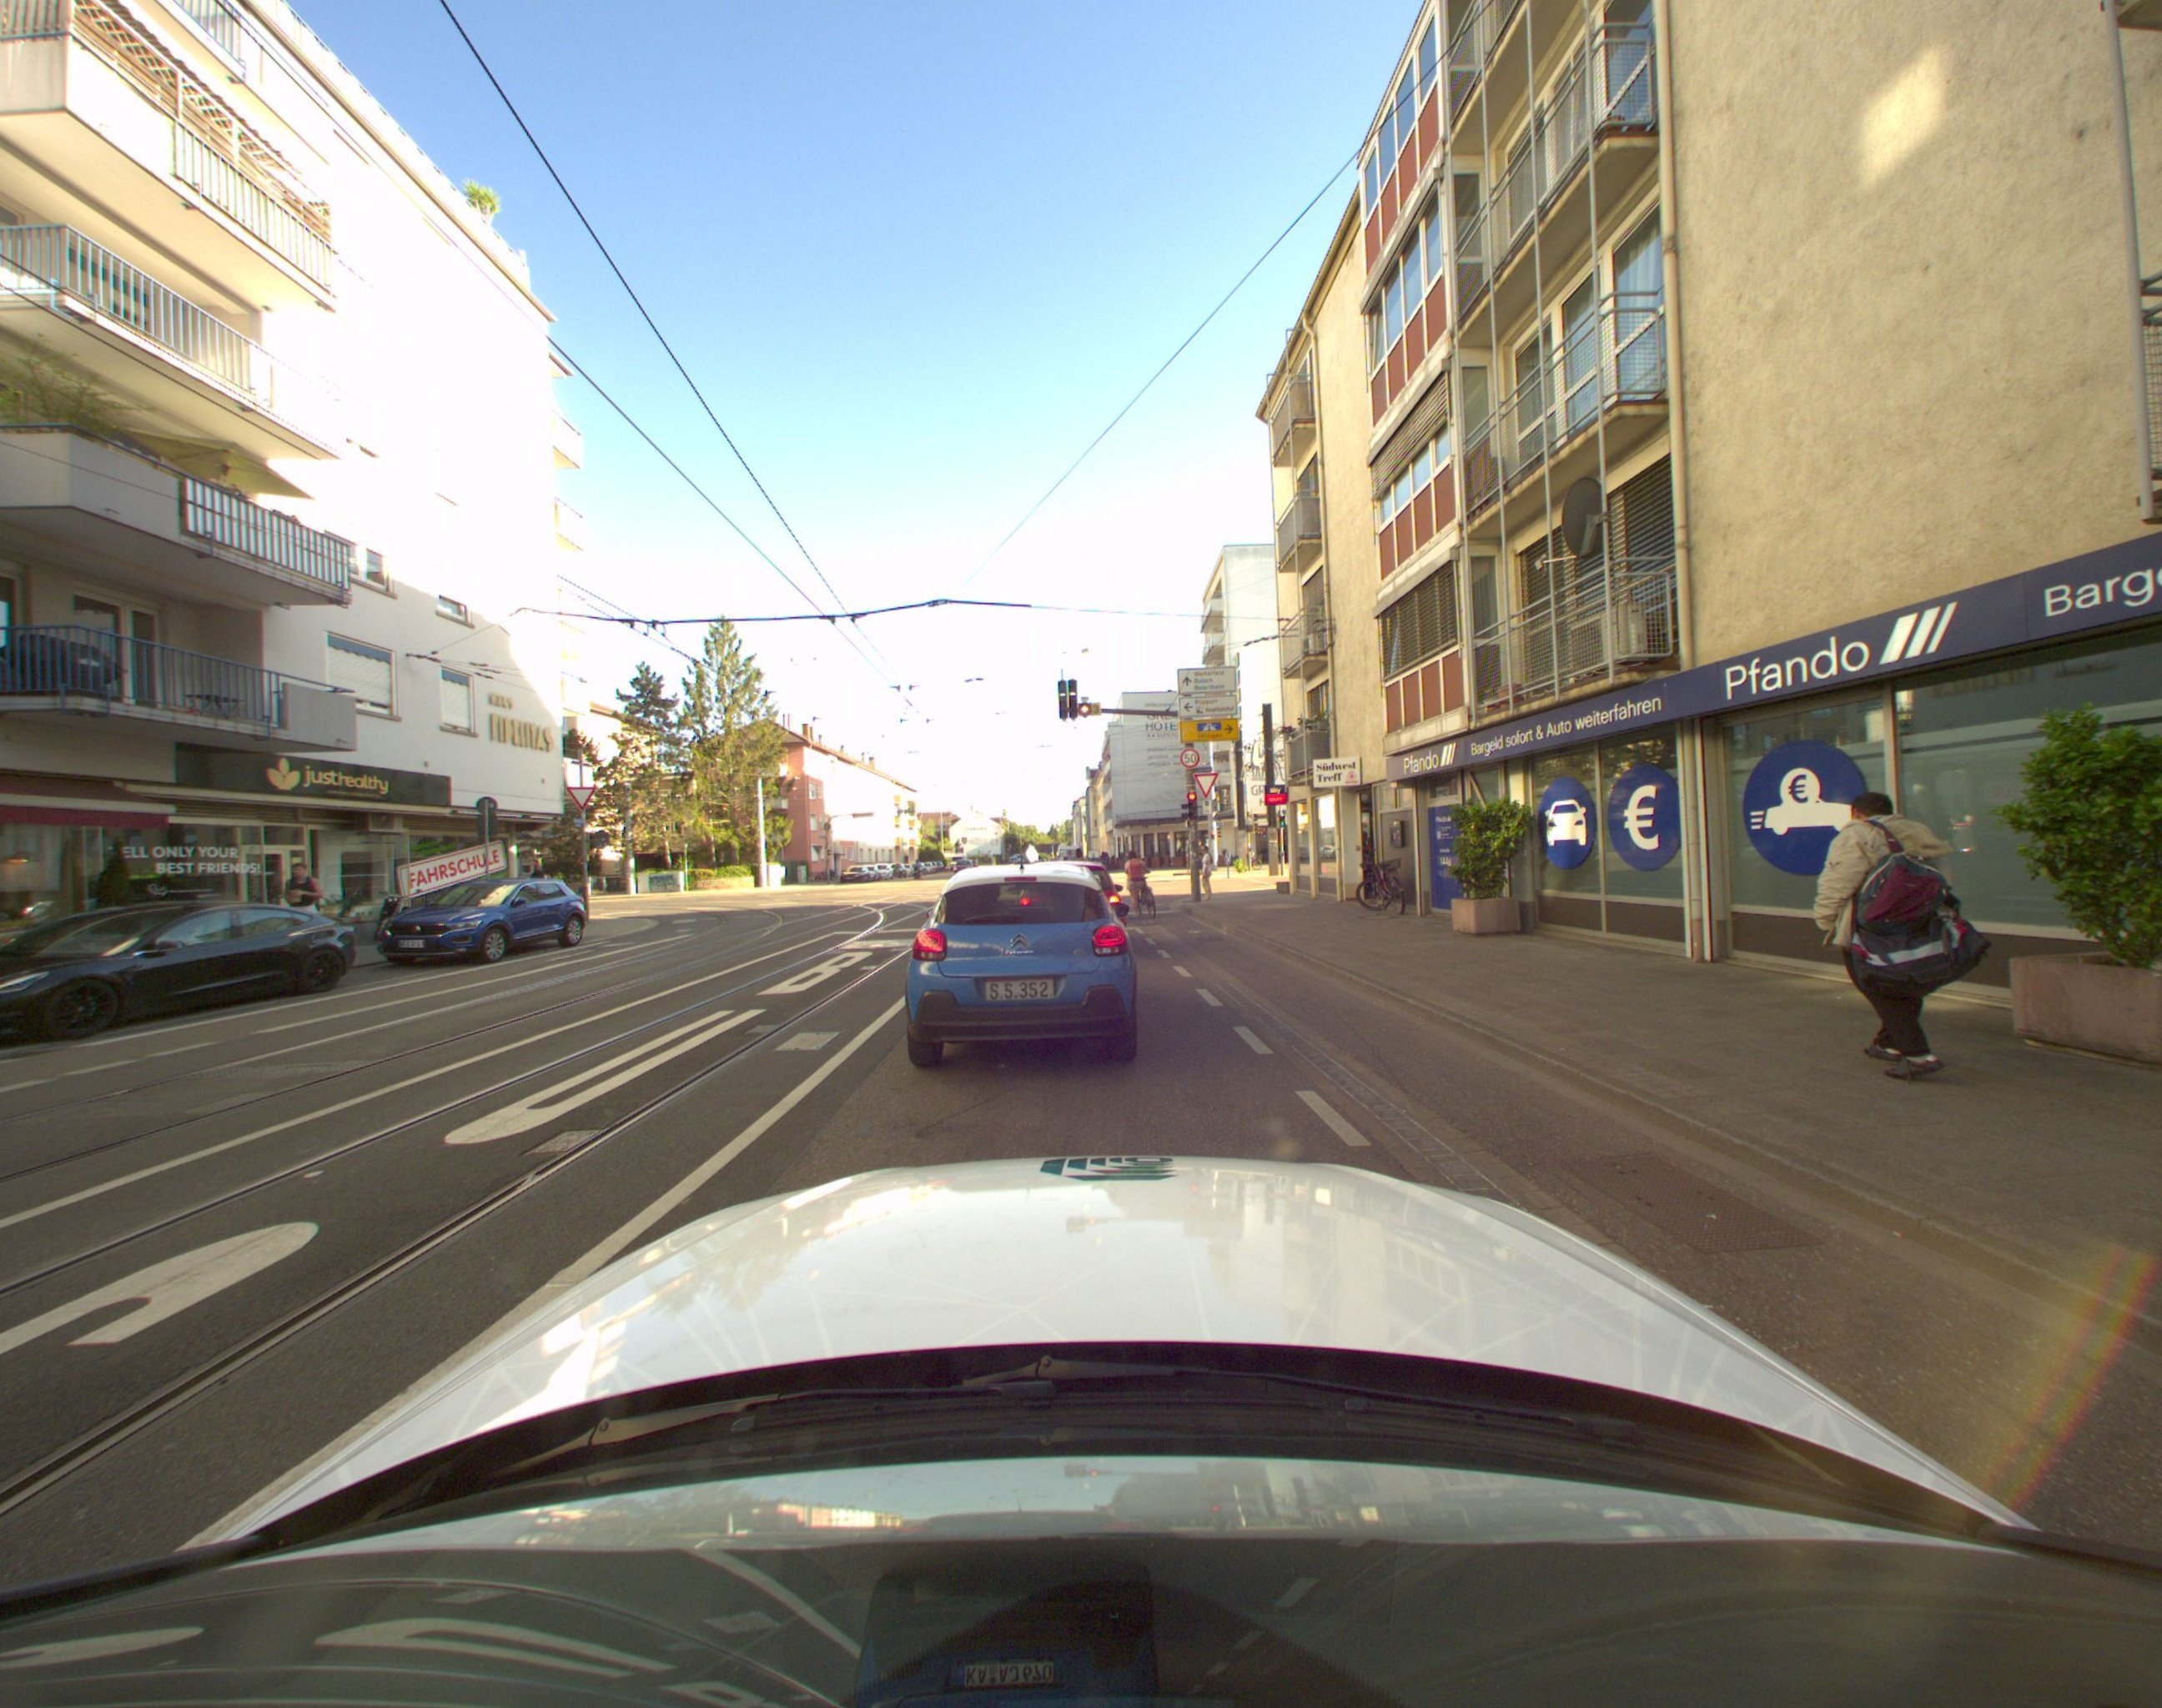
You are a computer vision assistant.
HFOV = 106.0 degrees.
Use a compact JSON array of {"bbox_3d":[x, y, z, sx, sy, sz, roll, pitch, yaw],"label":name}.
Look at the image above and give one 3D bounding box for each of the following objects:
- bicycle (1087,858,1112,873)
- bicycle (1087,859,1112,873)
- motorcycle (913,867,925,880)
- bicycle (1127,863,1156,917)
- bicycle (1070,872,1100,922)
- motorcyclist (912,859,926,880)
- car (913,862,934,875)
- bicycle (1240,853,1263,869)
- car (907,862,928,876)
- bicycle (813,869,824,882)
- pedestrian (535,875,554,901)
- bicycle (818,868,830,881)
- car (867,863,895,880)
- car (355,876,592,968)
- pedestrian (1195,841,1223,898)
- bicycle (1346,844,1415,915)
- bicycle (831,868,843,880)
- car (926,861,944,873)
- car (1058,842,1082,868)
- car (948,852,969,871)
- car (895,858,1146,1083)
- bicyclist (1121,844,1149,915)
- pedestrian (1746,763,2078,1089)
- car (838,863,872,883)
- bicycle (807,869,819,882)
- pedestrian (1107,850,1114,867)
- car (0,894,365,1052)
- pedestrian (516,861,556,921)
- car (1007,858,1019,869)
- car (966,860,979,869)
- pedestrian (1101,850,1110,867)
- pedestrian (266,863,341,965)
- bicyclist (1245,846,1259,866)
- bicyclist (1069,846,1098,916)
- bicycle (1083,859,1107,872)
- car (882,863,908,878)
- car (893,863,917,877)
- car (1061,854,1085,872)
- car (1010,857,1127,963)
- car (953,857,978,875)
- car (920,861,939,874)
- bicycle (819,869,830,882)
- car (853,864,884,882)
[{"bbox_3d":[1.514,0.934,65.940,1.901,1.064,0.641,-2,0,-6],"label":"bicycle"},{"bbox_3d":[1.523,0.964,67.247,1.901,1.064,0.641,-2,0,-6],"label":"bicycle"},{"bbox_3d":[-13.486,1.600,67.766,0.751,0.976,2.092,-2,0,-7],"label":"motorcycle"},{"bbox_3d":[1.530,0.888,20.732,0.611,1.264,1.911,-2,0,2],"label":"bicycle"},{"bbox_3d":[0.074,1.023,19.871,0.615,1.103,1.884,-2,0,-2],"label":"bicycle"},{"bbox_3d":[-13.476,1.272,67.699,0.990,1.631,0.737,-2,0,-7],"label":"motorcyclist"},{"bbox_3d":[-20.099,1.804,104.044,1.947,1.519,3.995,-2,0,-4],"label":"car"},{"bbox_3d":[12.272,0.473,58.566,1.474,1.091,0.609,-3,0,39],"label":"bicycle"},{"bbox_3d":[-19.853,1.789,99.030,1.947,1.519,3.995,-2,0,-4],"label":"car"},{"bbox_3d":[-21.976,1.796,68.193,0.537,1.082,1.905,-2,0,-9],"label":"bicycle"},{"bbox_3d":[-36.775,2.315,55.850,0.805,1.702,0.681,-2,0,1],"label":"pedestrian"},{"bbox_3d":[-23.052,1.844,73.112,0.536,1.082,1.908,-2,0,-4],"label":"bicycle"},{"bbox_3d":[-19.562,1.687,79.861,1.947,1.519,3.995,-2,0,-4],"label":"car"},{"bbox_3d":[-11.881,1.244,16.331,1.720,1.505,4.113,0,0,-2],"label":"car"},{"bbox_3d":[3.827,0.456,24.355,0.747,1.635,0.742,-2,0,7],"label":"pedestrian"},{"bbox_3d":[5.756,0.458,15.744,0.637,1.264,1.911,-2,0,2],"label":"bicycle"},{"bbox_3d":[-22.718,1.863,75.808,0.608,1.082,1.908,-2,0,-4],"label":"bicycle"},{"bbox_3d":[-20.726,1.856,115.689,1.947,1.519,3.995,-2,0,-4],"label":"car"},{"bbox_3d":[-1.040,0.090,73.452,2.074,2.269,5.647,-1,0,-2],"label":"car"},{"bbox_3d":[-18.128,1.108,120.581,2.489,2.712,5.828,-2,0,-5],"label":"car"},{"bbox_3d":[-0.455,0.791,7.504,1.675,1.462,3.997,-1,0,-2],"label":"car"},{"bbox_3d":[1.366,0.634,20.698,0.598,1.746,1.084,-2,0,2],"label":"bicyclist"},{"bbox_3d":[4.528,0.354,4.519,0.871,1.571,0.868,-4,0,-1],"label":"pedestrian"},{"bbox_3d":[-19.292,1.603,69.625,1.947,1.519,3.995,-2,0,-4],"label":"car"},{"bbox_3d":[-22.382,1.795,68.083,0.640,1.082,1.905,-2,0,-9],"label":"bicycle"},{"bbox_3d":[2.522,0.383,70.123,0.467,1.420,0.524,-2,0,-11],"label":"pedestrian"},{"bbox_3d":[-11.987,1.331,10.428,1.720,1.403,4.486,0,0,-2],"label":"car"},{"bbox_3d":[-17.346,1.173,25.906,0.761,1.834,0.725,-3,0,28],"label":"pedestrian"},{"bbox_3d":[-14.267,1.986,171.416,2.333,2.039,5.044,-2,0,-4],"label":"car"},{"bbox_3d":[-19.339,1.822,145.250,1.947,1.519,3.995,-2,0,-4],"label":"car"},{"bbox_3d":[2.102,0.400,70.384,0.520,1.420,0.550,-3,0,22],"label":"pedestrian"},{"bbox_3d":[-14.620,1.113,15.319,0.745,1.857,0.674,-3,0,15],"label":"pedestrian"},{"bbox_3d":[12.322,0.140,58.557,0.720,1.434,0.609,-3,0,39],"label":"bicyclist"},{"bbox_3d":[0.044,0.647,19.769,0.615,1.630,0.759,-2,0,-2],"label":"bicyclist"},{"bbox_3d":[1.158,0.957,68.449,1.901,1.064,0.641,-2,0,-6],"label":"bicycle"},{"bbox_3d":[-19.731,1.742,86.534,1.947,1.519,3.995,-2,0,-4],"label":"car"},{"bbox_3d":[-19.983,1.793,92.601,1.947,1.519,3.995,-2,0,-4],"label":"car"},{"bbox_3d":[-0.718,0.745,67.991,1.783,1.359,3.909,-2,0,-4],"label":"car"},{"bbox_3d":[-0.229,0.811,13.713,1.675,1.462,3.997,-1,0,-2],"label":"car"},{"bbox_3d":[-11.210,1.130,79.190,2.002,1.627,5.044,-2,0,-5],"label":"car"},{"bbox_3d":[-20.299,1.777,109.333,1.947,1.519,3.995,-2,0,-4],"label":"car"},{"bbox_3d":[-21.598,1.796,68.477,0.537,1.082,1.905,-2,0,-9],"label":"bicycle"},{"bbox_3d":[-19.573,1.720,75.249,1.947,1.519,4.040,-2,0,-4],"label":"car"}]
